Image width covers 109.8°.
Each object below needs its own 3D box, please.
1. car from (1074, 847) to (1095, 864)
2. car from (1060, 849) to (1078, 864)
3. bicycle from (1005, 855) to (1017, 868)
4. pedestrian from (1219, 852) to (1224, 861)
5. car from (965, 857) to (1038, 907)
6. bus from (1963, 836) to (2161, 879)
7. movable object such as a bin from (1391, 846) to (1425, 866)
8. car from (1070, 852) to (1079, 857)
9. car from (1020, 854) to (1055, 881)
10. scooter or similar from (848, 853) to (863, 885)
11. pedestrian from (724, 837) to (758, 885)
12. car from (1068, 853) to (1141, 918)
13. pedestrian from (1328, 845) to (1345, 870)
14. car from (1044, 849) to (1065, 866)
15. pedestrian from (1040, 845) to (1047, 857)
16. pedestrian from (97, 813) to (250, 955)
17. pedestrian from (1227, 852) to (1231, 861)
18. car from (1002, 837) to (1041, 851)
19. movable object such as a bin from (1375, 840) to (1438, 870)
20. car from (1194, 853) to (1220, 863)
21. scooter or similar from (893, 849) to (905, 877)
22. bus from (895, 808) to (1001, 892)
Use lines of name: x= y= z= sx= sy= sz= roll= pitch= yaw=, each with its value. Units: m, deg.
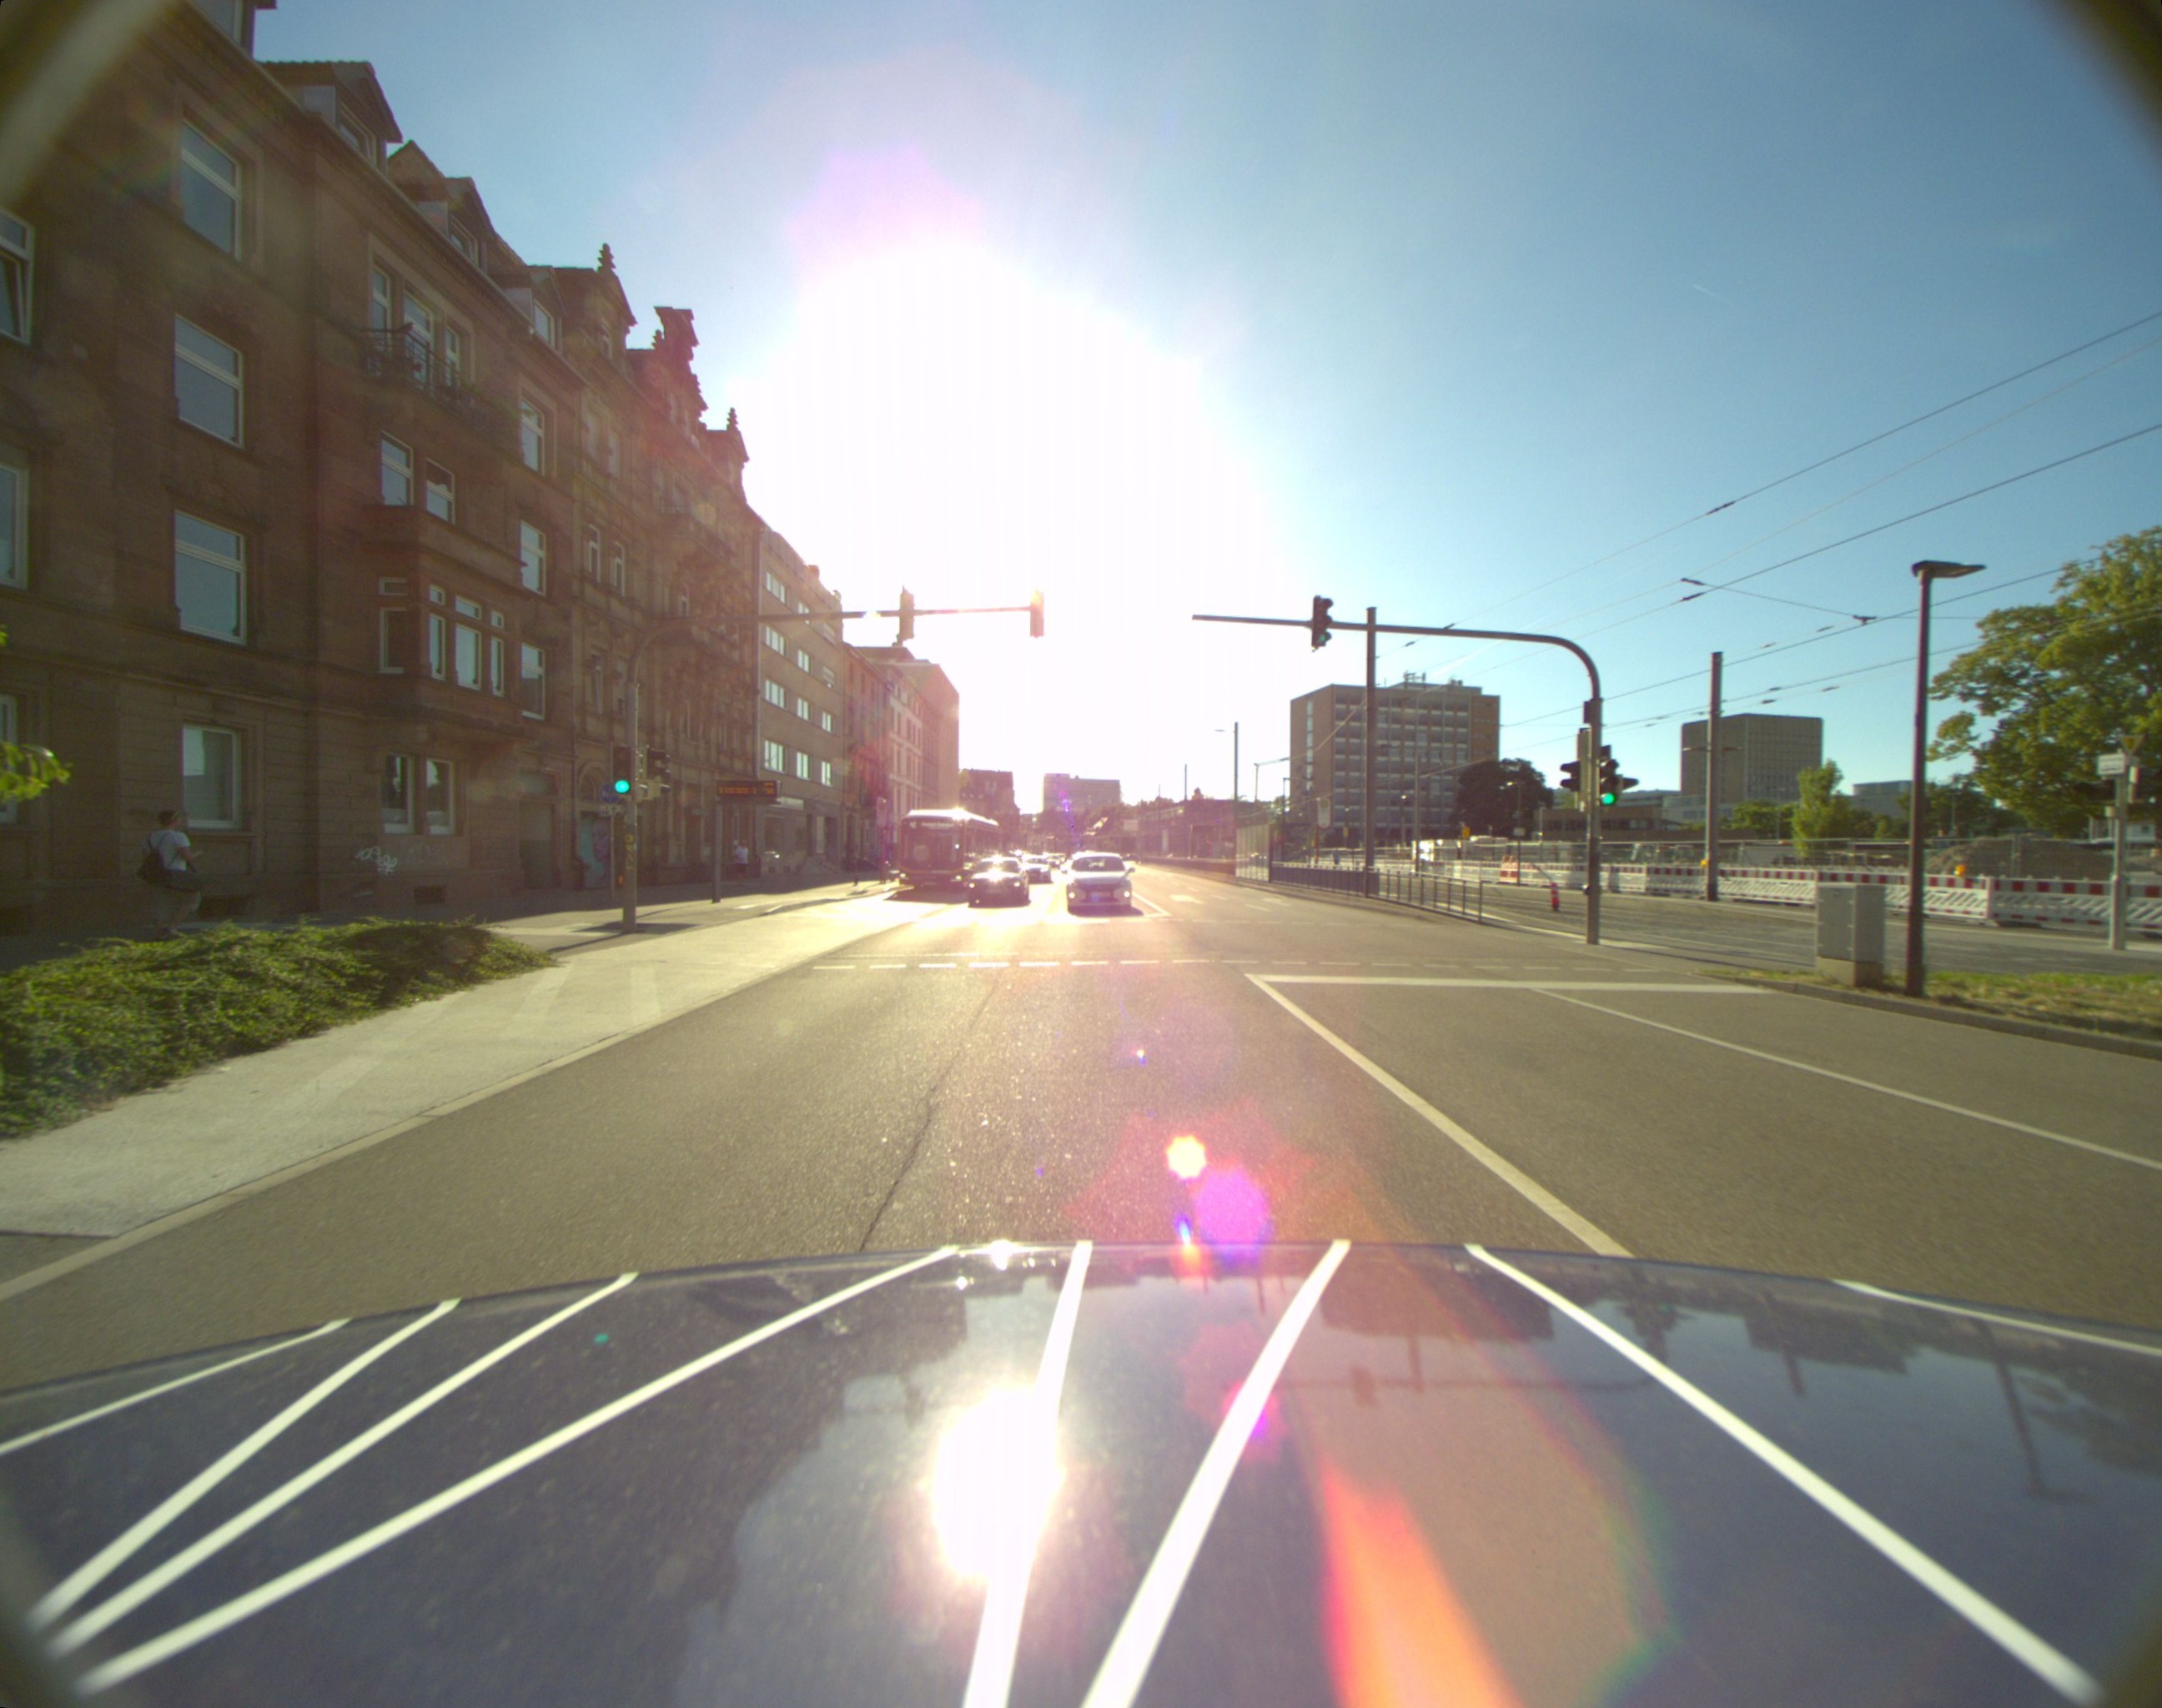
car: x=0.324 y=0.134 z=78.504 sx=1.999 sy=1.666 sz=4.282 roll=2 pitch=1 yaw=-2
car: x=-1.501 y=0.353 z=92.547 sx=1.999 sy=1.673 sz=4.000 roll=2 pitch=-2 yaw=-4
bicycle: x=-5.950 y=0.640 z=64.591 sx=0.471 sy=1.140 sz=1.767 roll=0 pitch=0 yaw=-23
pedestrian: x=28.557 y=0.510 z=154.205 sx=0.620 sy=1.730 sz=0.667 roll=2 pitch=3 yaw=42
car: x=-2.453 y=0.843 z=24.220 sx=1.694 sy=1.380 sz=3.832 roll=-1 pitch=1 yaw=3
bus: x=80.690 y=0.368 z=60.994 sx=12.624 sy=3.174 sz=3.259 roll=-1 pitch=-3 yaw=43
movable object such as a bin: x=28.191 y=0.201 z=65.602 sx=1.176 sy=1.577 sz=3.866 roll=1 pitch=-2 yaw=-1
car: x=-2.060 y=0.276 z=237.771 sx=1.757 sy=1.455 sz=4.015 roll=0 pitch=-1 yaw=-13
car: x=-2.354 y=0.683 z=41.308 sx=1.826 sy=1.380 sz=4.456 roll=0 pitch=0 yaw=-3
scooter or similar: x=-9.186 y=0.596 z=30.945 sx=0.433 sy=1.242 sz=1.293 roll=2 pitch=2 yaw=-12
pedestrian: x=-13.135 y=0.290 z=29.363 sx=0.853 sy=1.822 sz=0.780 roll=1 pitch=-2 yaw=2
car: x=0.589 y=0.761 z=20.370 sx=1.720 sy=1.484 sz=3.870 roll=2 pitch=1 yaw=0
pedestrian: x=18.454 y=0.244 z=54.883 sx=0.804 sy=1.757 sz=1.180 roll=1 pitch=-2 yaw=0
car: x=-2.427 y=0.312 z=70.826 sx=1.783 sy=1.455 sz=3.914 roll=1 pitch=1 yaw=-1
pedestrian: x=-5.264 y=-0.409 z=106.589 sx=0.698 sy=1.718 sz=0.752 roll=0 pitch=1 yaw=-17
pedestrian: x=-12.972 y=0.410 z=10.915 sx=0.824 sy=1.919 sz=1.136 roll=1 pitch=1 yaw=-1
pedestrian: x=30.009 y=0.495 z=154.346 sx=0.732 sy=1.730 sz=0.622 roll=1 pitch=2 yaw=10
car: x=-7.059 y=-1.167 z=90.347 sx=4.260 sy=1.561 sz=1.955 roll=-1 pitch=0 yaw=-44
movable object such as a bin: x=30.018 y=0.150 z=70.225 sx=2.637 sy=2.510 sz=5.163 roll=2 pitch=-2 yaw=-18
car: x=23.980 y=0.718 z=144.322 sx=4.698 sy=1.673 sz=2.003 roll=1 pitch=-2 yaw=15
scooter or similar: x=-8.534 y=0.424 z=35.623 sx=0.433 sy=1.242 sz=1.293 roll=2 pitch=2 yaw=-10
bus: x=-5.731 y=-0.183 z=35.344 sx=2.722 sy=3.162 sz=12.539 roll=1 pitch=0 yaw=0
